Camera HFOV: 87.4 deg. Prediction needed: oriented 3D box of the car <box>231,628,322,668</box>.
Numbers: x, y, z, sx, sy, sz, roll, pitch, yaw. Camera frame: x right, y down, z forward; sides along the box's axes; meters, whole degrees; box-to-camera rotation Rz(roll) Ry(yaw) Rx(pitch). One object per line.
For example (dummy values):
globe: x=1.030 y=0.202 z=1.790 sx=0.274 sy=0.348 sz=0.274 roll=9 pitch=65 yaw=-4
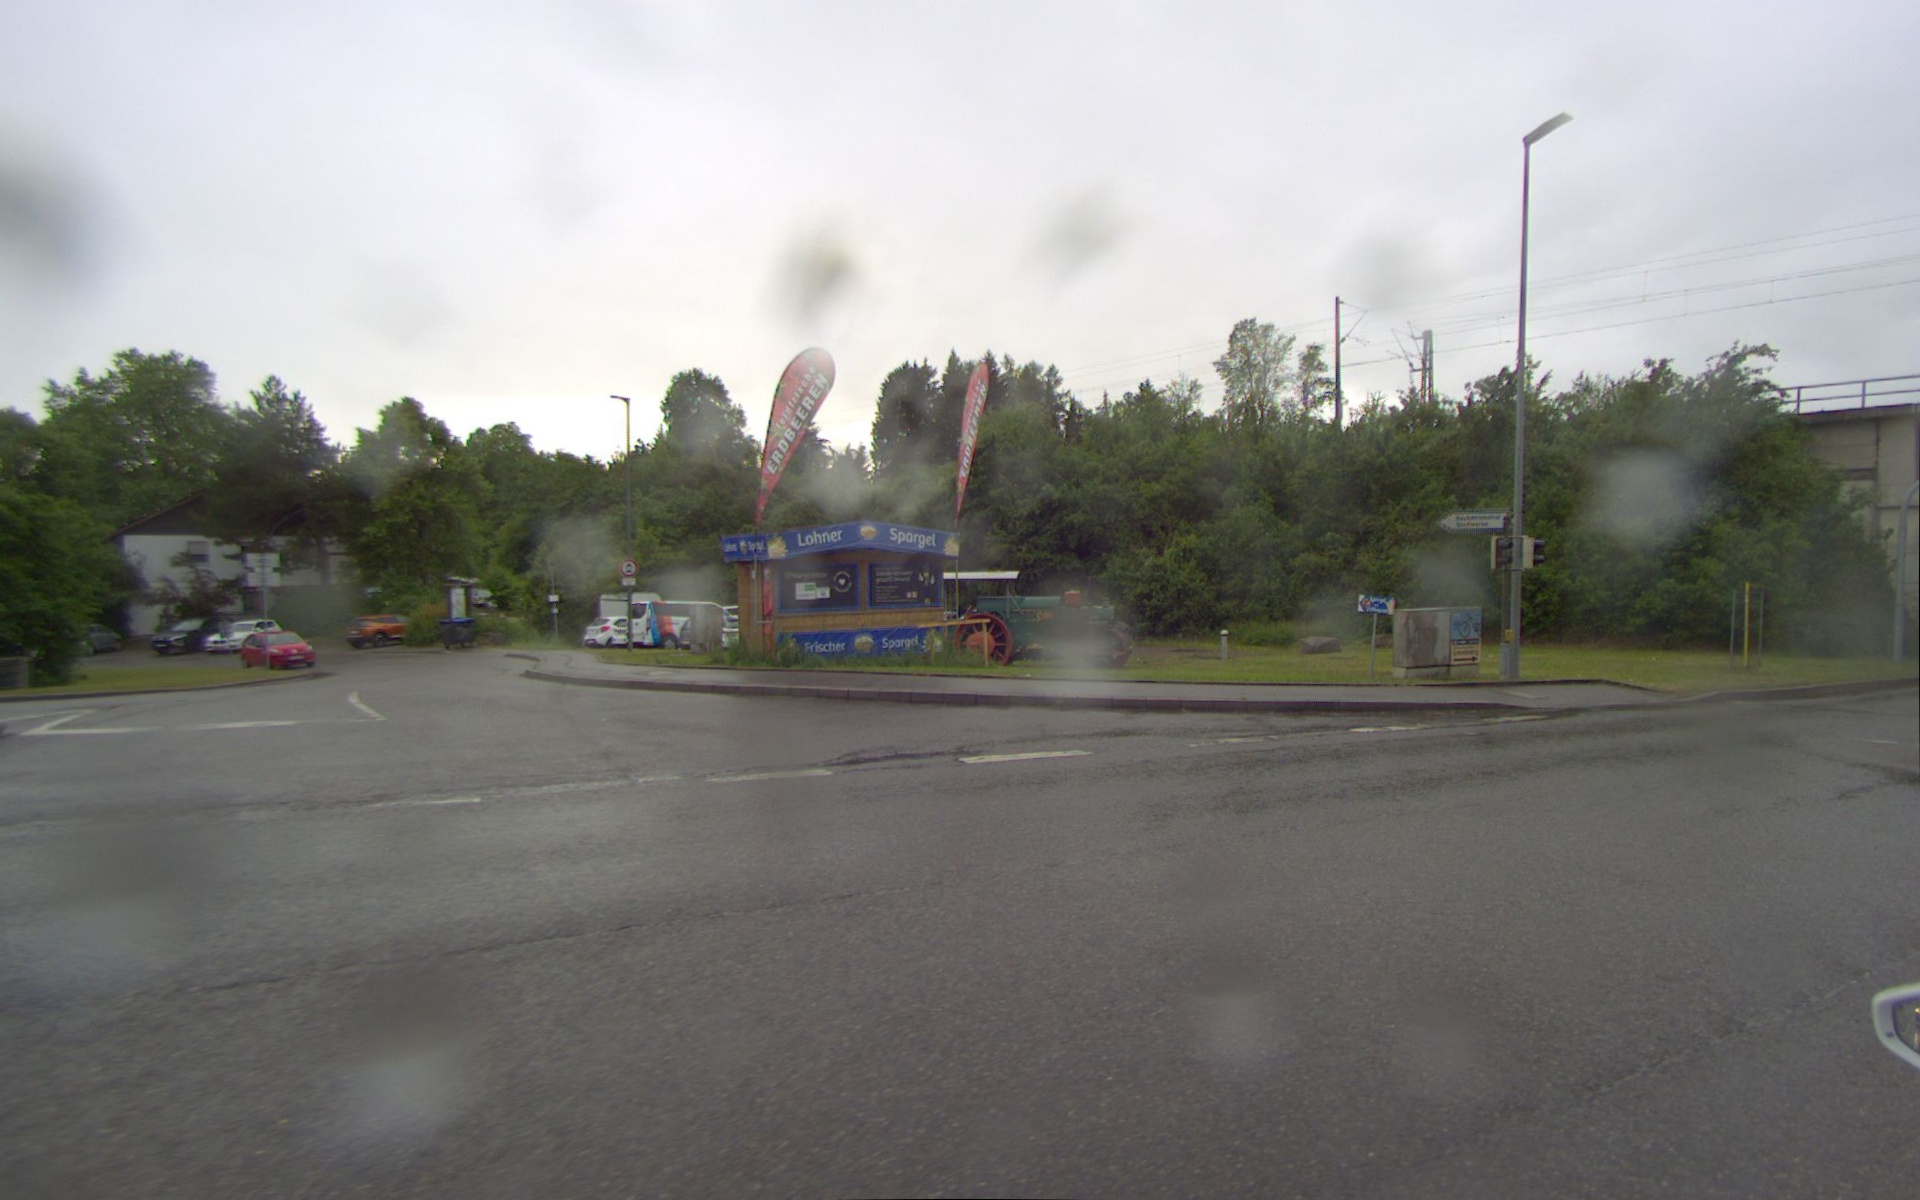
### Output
car: x=-27.475 y=1.903 z=40.357 sx=3.931 sy=1.421 sz=1.547 roll=2 pitch=-1 yaw=32

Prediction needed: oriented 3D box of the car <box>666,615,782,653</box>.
car: x=-9.003 y=1.329 z=38.545 sx=3.972 sy=1.327 sz=1.734 roll=3 pitch=-1 yaw=-43

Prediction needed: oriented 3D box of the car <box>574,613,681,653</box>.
car: x=-14.397 y=1.465 z=43.635 sx=1.813 sy=1.606 sz=3.978 roll=1 pitch=-1 yaw=42

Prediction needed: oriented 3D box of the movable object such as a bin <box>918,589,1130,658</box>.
movable object such as a bin: x=1.896 y=0.645 z=28.331 sx=5.663 sy=1.649 sz=2.753 roll=2 pitch=-1 yaw=10

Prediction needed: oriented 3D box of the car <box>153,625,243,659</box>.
car: x=-39.273 y=2.129 z=51.890 sx=1.703 sy=1.606 sz=3.999 roll=2 pitch=-1 yaw=-3

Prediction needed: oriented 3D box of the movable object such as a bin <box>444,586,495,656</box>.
movable object such as a bin: x=-23.152 y=0.990 z=47.415 sx=1.765 sy=3.192 sz=1.304 roll=2 pitch=-1 yaw=28

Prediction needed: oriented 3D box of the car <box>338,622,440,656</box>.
car: x=-28.824 y=1.965 z=50.832 sx=1.963 sy=1.606 sz=3.995 roll=2 pitch=-1 yaw=28

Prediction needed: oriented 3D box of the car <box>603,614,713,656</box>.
car: x=-12.485 y=1.489 z=41.736 sx=1.834 sy=1.606 sz=3.978 roll=1 pitch=-1 yaw=42

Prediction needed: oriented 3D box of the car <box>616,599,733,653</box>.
car: x=-11.262 y=1.049 z=39.798 sx=1.972 sy=1.974 sz=3.978 roll=1 pitch=-1 yaw=42

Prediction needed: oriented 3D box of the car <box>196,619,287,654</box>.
car: x=-36.899 y=1.842 z=51.707 sx=1.962 sy=1.606 sz=3.997 roll=2 pitch=-1 yaw=-5

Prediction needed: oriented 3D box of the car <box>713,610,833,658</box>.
car: x=-6.822 y=1.247 z=36.778 sx=3.880 sy=1.606 sz=1.918 roll=3 pitch=-1 yaw=-43
